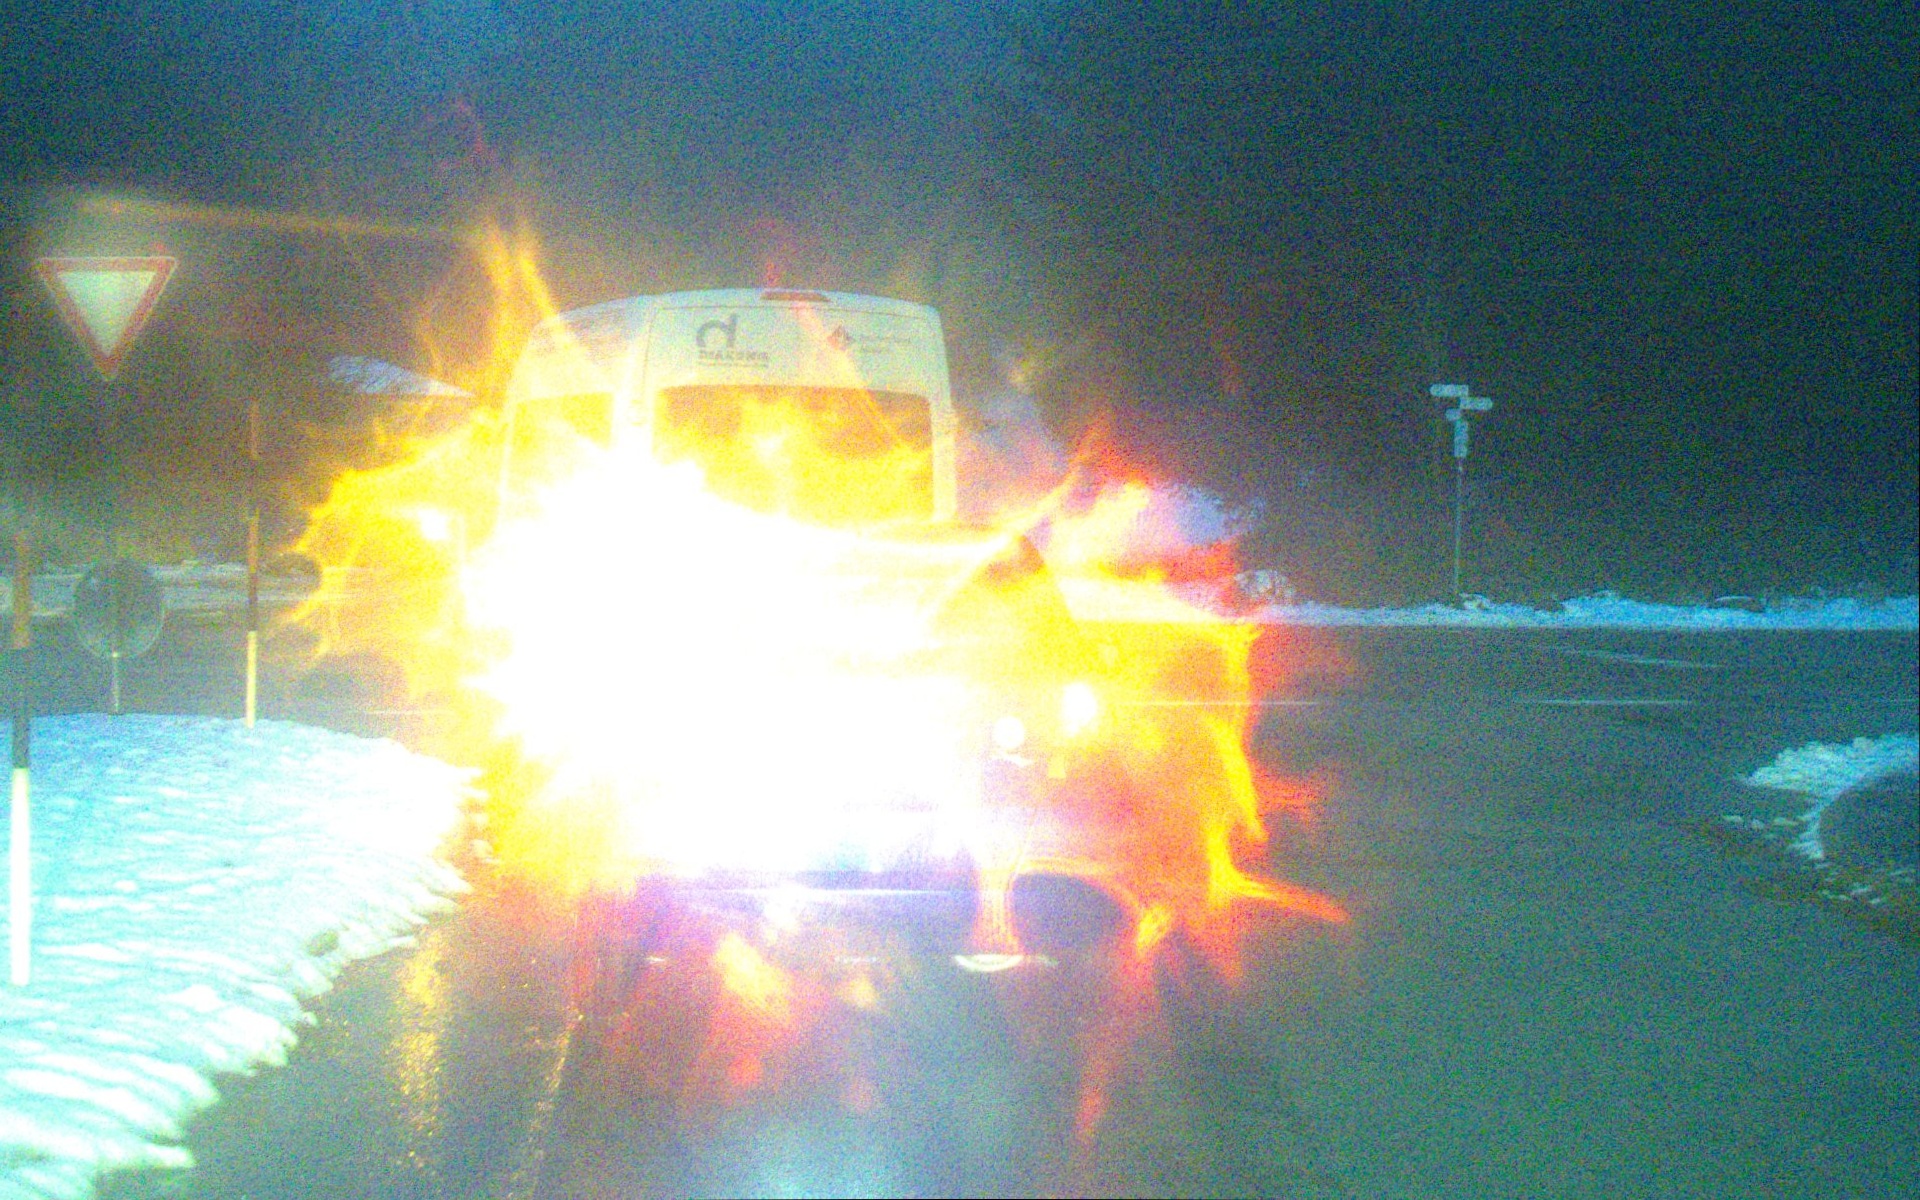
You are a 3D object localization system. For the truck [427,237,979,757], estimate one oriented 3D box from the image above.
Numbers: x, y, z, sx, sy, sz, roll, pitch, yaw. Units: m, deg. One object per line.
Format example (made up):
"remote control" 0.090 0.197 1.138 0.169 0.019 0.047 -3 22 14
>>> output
"truck" -1.747 -0.574 20.997 2.075 2.736 5.321 1 1 -18

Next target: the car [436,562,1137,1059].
"car" -0.536 0.566 11.550 1.922 1.272 4.001 1 2 -2
